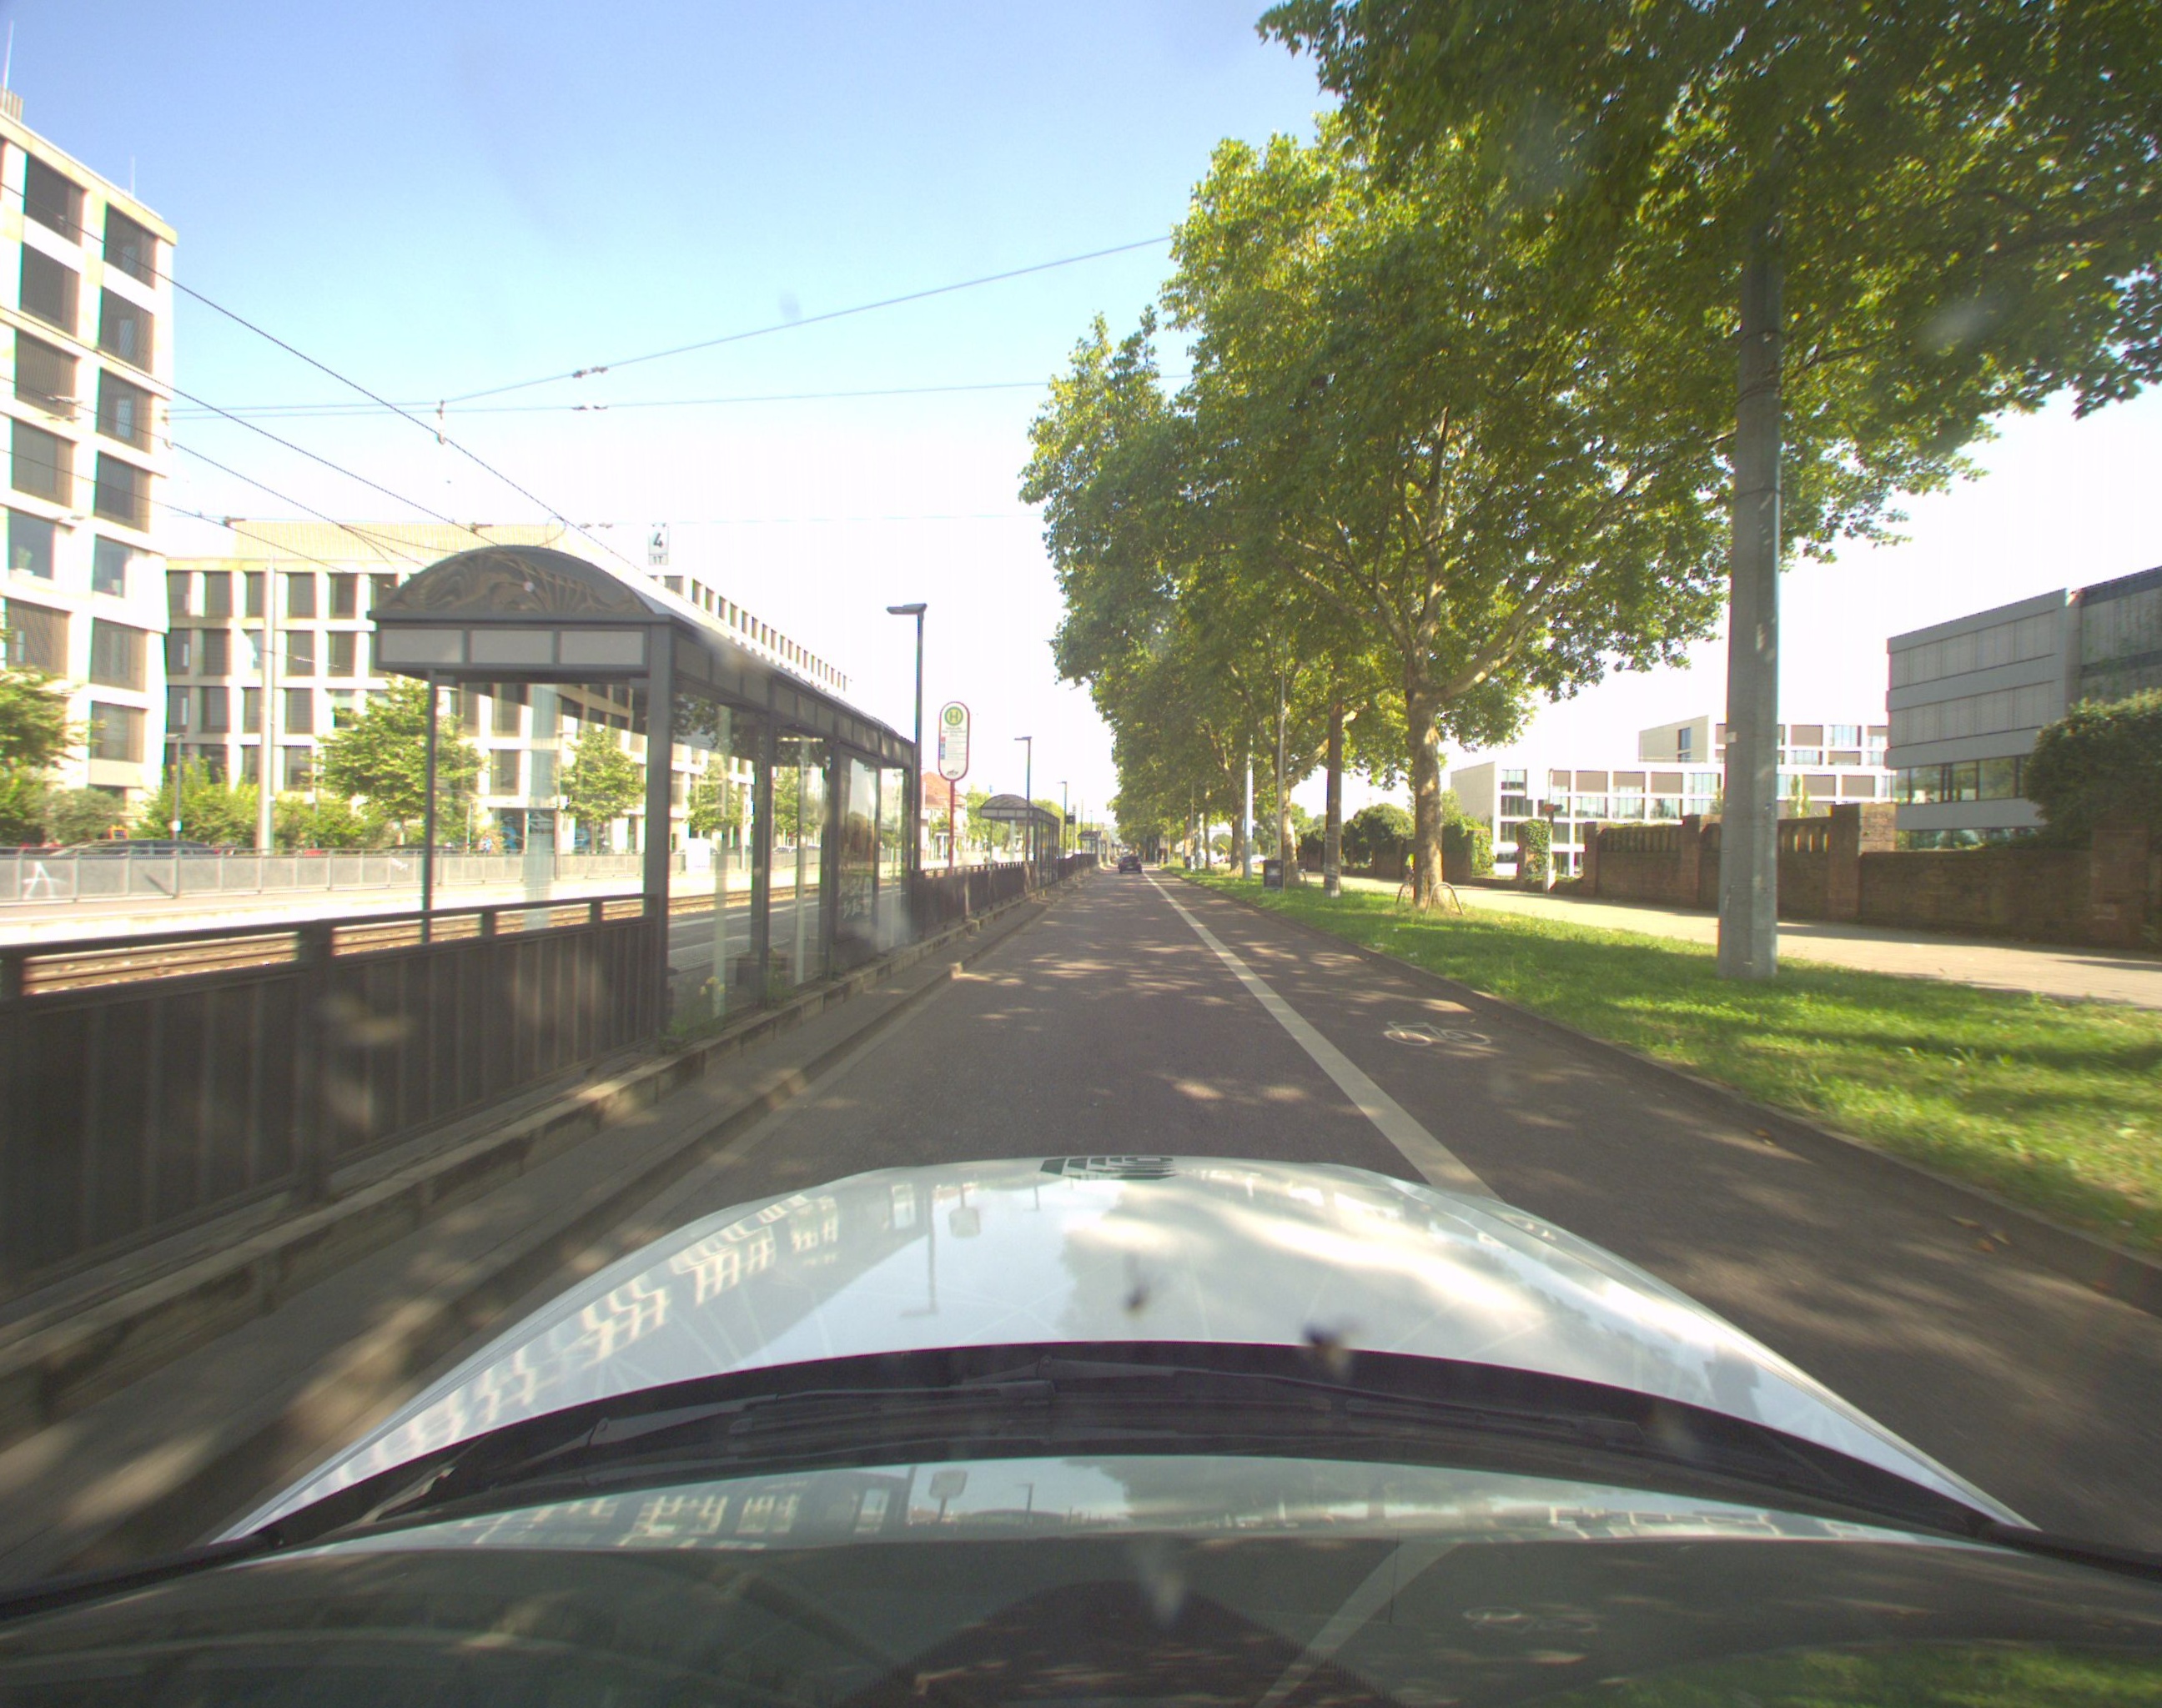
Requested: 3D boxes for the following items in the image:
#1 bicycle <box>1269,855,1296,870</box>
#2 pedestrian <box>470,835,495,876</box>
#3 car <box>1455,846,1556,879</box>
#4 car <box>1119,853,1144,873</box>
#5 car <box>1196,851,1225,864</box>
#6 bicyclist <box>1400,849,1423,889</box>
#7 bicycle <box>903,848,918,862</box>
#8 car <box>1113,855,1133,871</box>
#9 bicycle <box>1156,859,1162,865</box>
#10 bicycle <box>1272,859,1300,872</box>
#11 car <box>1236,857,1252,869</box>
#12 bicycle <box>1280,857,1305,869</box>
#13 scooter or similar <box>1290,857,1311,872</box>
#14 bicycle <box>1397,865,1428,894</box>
[{"bbox_3d":[18.145,0.778,73.304,2.235,1.277,0.999,-1,-1,2],"label":"bicycle"},{"bbox_3d":[-29.865,0.090,40.633,0.560,2.014,0.823,-2,-2,3],"label":"pedestrian"},{"bbox_3d":[22.917,0.463,44.089,4.505,1.734,1.910,0,0,1],"label":"car"},{"bbox_3d":[3.932,0.693,64.325,1.900,1.537,4.002,-1,0,2],"label":"car"},{"bbox_3d":[19.284,0.542,121.302,4.083,1.918,1.851,-1,0,5],"label":"car"},{"bbox_3d":[12.244,0.558,30.144,0.546,1.453,0.843,0,0,3],"label":"bicyclist"},{"bbox_3d":[-13.698,0.079,65.420,0.467,1.147,1.490,1,0,18],"label":"bicycle"},{"bbox_3d":[4.257,0.878,83.543,1.965,1.537,4.002,-3,0,2],"label":"car"},{"bbox_3d":[13.104,1.389,137.082,0.608,1.022,2.401,1,0,-1],"label":"bicycle"},{"bbox_3d":[17.304,0.959,68.806,2.165,1.076,0.743,1,0,1],"label":"bicycle"},{"bbox_3d":[21.800,1.166,109.023,1.601,1.575,3.800,0,0,3],"label":"car"},{"bbox_3d":[17.100,0.731,65.970,1.860,1.006,0.735,1,0,1],"label":"bicycle"},{"bbox_3d":[17.378,0.830,64.490,1.498,1.191,0.539,-1,-1,6],"label":"scooter or similar"},{"bbox_3d":[12.232,0.920,30.117,0.546,1.007,1.715,1,0,3],"label":"bicycle"}]
